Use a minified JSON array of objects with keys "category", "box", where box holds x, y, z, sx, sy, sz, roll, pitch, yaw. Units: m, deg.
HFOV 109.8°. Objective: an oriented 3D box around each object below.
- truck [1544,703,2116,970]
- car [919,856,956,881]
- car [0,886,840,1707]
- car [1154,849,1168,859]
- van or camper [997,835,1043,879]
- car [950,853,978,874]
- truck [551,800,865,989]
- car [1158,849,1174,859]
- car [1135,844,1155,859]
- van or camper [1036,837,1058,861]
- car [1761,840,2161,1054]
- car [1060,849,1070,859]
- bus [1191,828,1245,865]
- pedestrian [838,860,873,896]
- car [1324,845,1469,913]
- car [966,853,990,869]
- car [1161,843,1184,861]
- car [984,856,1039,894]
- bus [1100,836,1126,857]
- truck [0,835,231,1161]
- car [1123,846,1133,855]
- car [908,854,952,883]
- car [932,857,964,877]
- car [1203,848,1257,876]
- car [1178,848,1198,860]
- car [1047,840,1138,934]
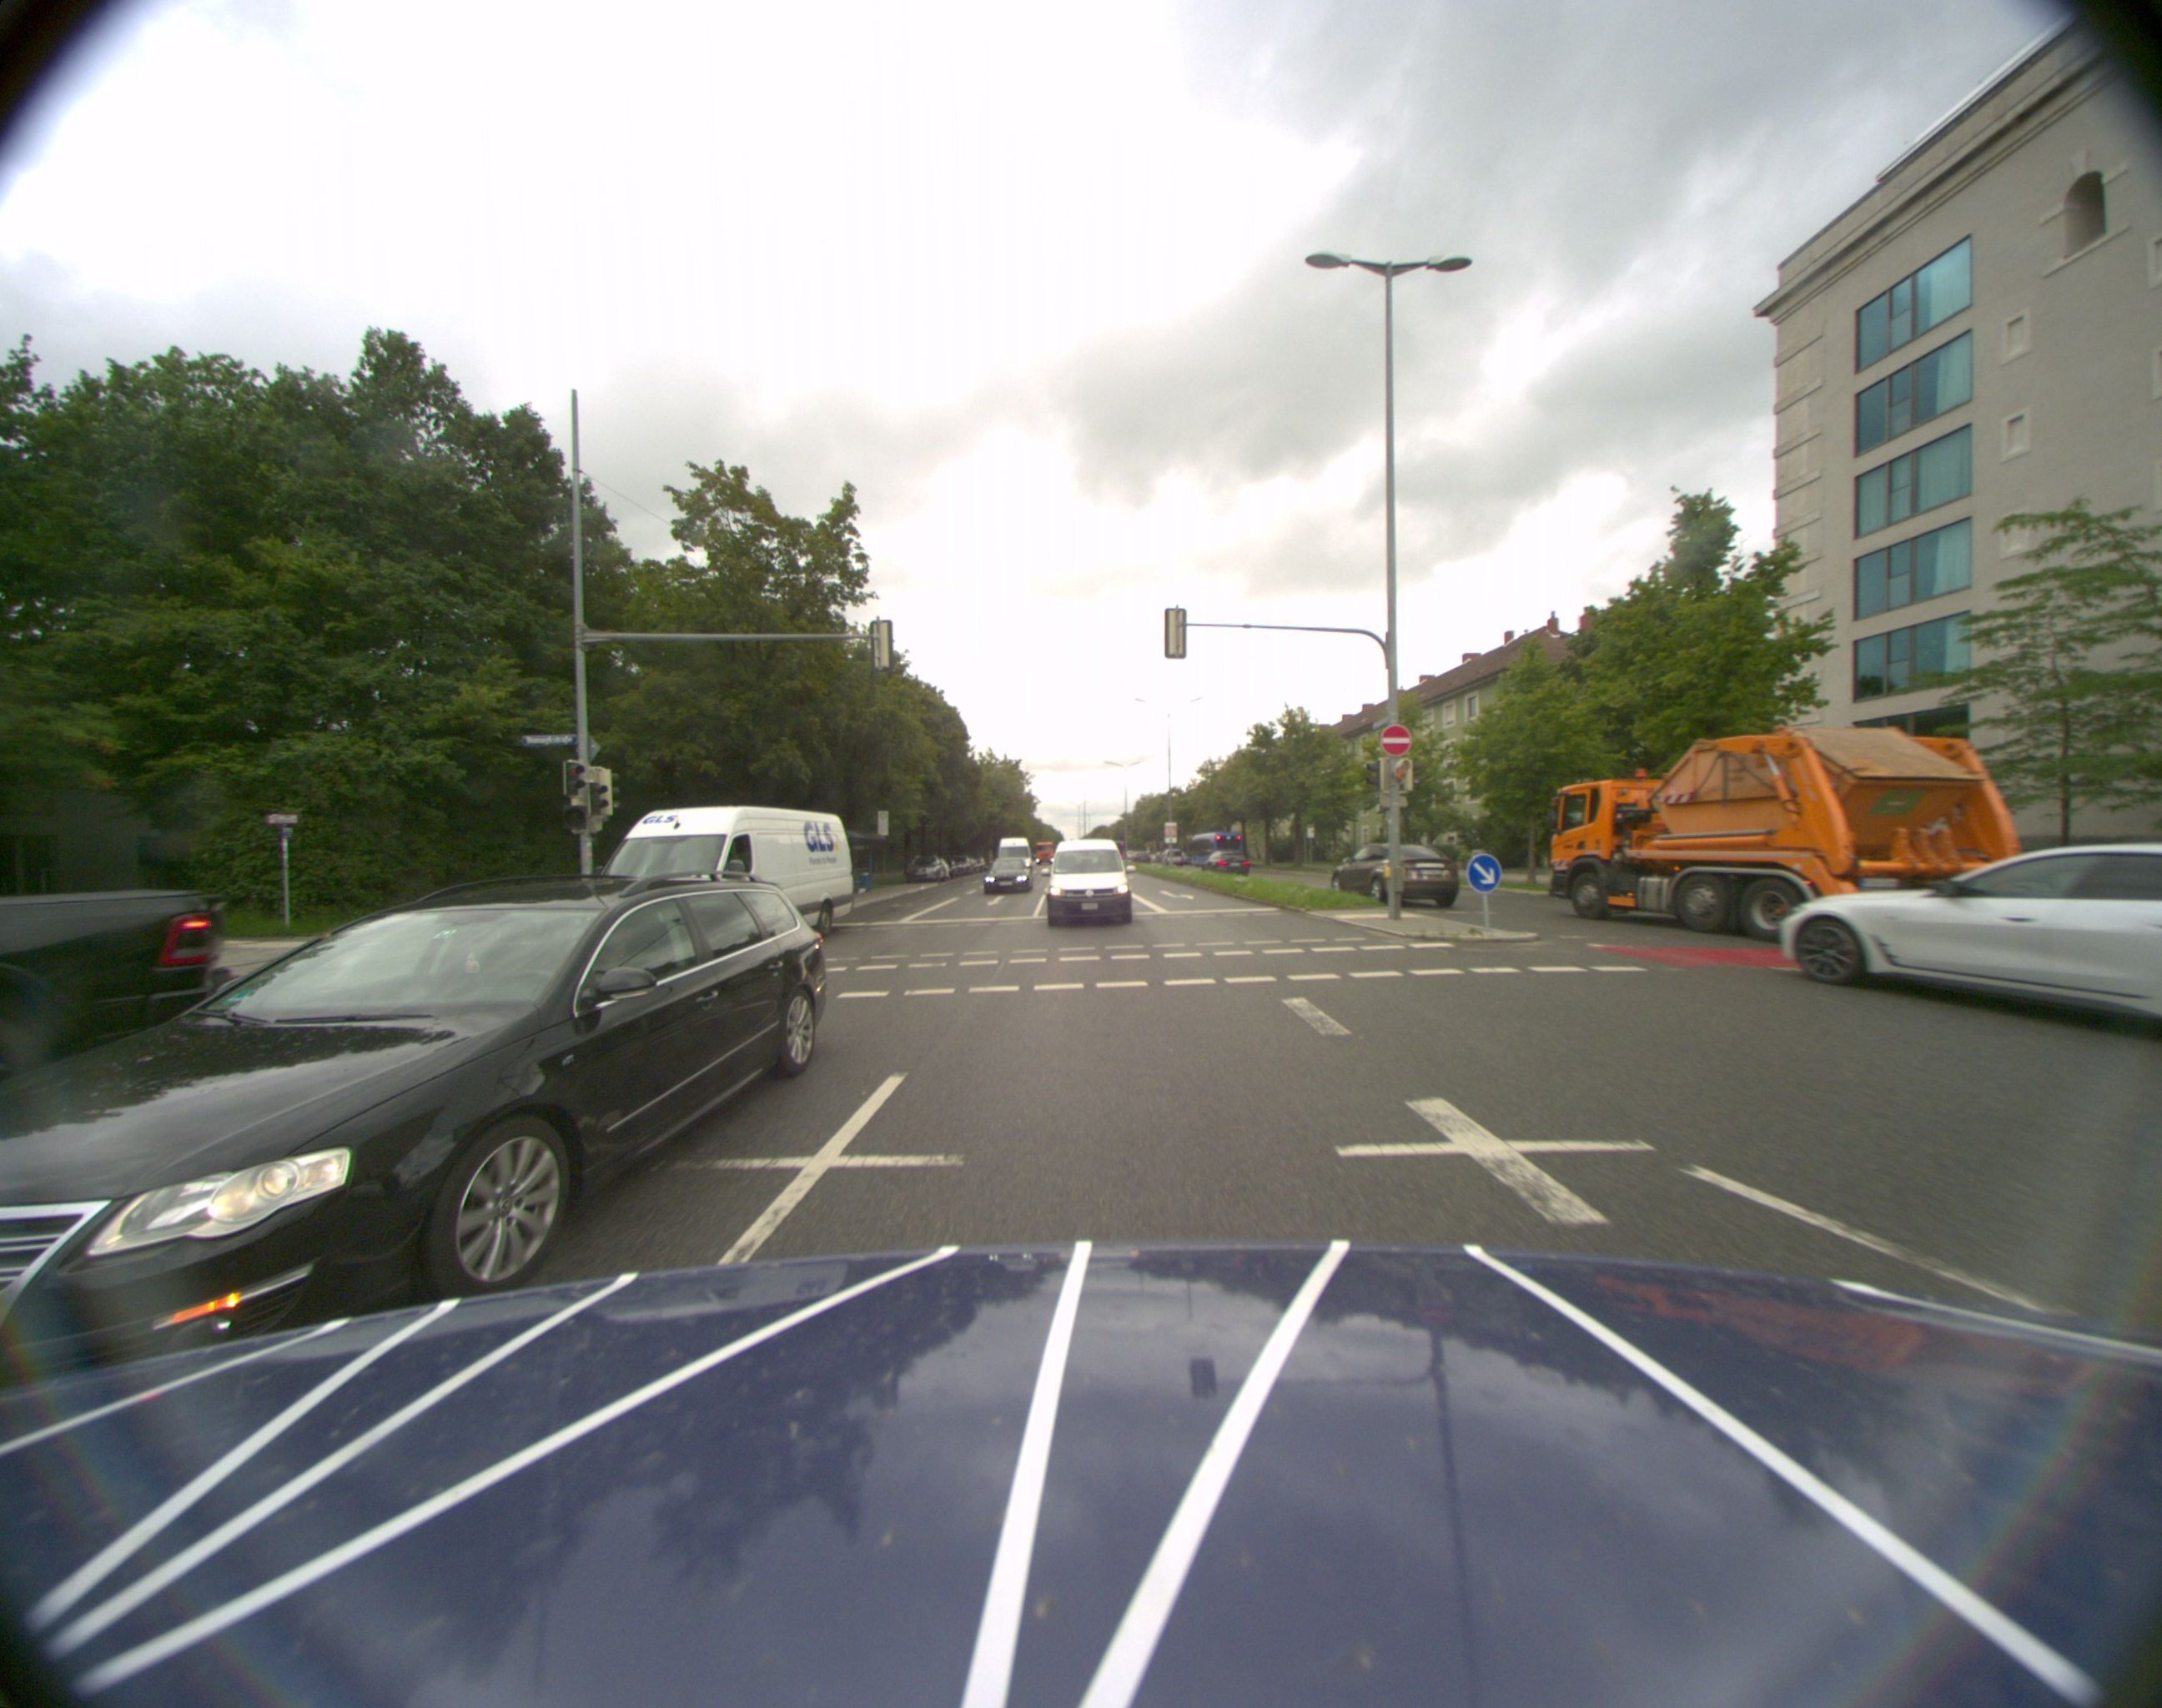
[{"category":"truck","box":[11.680,-0.250,13.237,2.787,3.337,7.265,-1,1,0]},{"category":"car","box":[-9.779,0.963,51.967,1.752,1.515,4.395,-1,1,-1]},{"category":"car","box":[-2.824,1.045,3.872,1.752,1.466,4.670,-2,1,-1]},{"category":"car","box":[12.693,-0.070,120.768,1.857,1.454,3.909,-2,0,0]},{"category":"van or camper","box":[-3.722,0.144,47.715,2.183,2.546,7.074,-1,1,0]},{"category":"car","box":[-9.744,0.788,63.620,1.752,1.640,4.254,-1,1,-1]},{"category":"truck","box":[-6.187,0.527,14.133,1.998,2.589,7.227,-1,1,2]},{"category":"car","box":[12.882,-0.039,115.095,1.857,1.454,3.909,-2,0,0]},{"category":"car","box":[7.044,-0.251,84.046,1.703,1.561,4.290,-1,1,-2]},{"category":"van or camper","box":[-4.870,-0.700,109.214,2.781,3.219,7.074,-1,1,0]},{"category":"car","box":[8.390,0.637,6.033,1.732,1.478,4.741,-1,1,0]},{"category":"car","box":[-3.390,-0.050,165.621,1.998,2.002,3.999,-1,1,0]},{"category":"bus","box":[13.214,-0.752,74.392,2.752,3.324,12.046,0,1,-1]},{"category":"pedestrian","box":[-9.290,0.997,31.332,1.157,1.375,0.611,-4,1,-2]},{"category":"car","box":[8.250,0.578,20.413,1.867,1.533,4.749,3,1,0]},{"category":"car","box":[-9.976,0.650,73.694,1.752,1.459,4.254,-1,1,-1]},{"category":"car","box":[9.664,-0.264,80.548,1.784,1.801,4.429,2,0,-2]},{"category":"car","box":[-2.858,0.841,32.221,1.819,1.421,4.671,-1,0,0]},{"category":"bus","box":[5.270,-1.314,128.216,2.754,3.324,12.266,0,1,-6]},{"category":"truck","box":[-8.766,0.929,3.876,2.100,2.002,5.824,0,1,42]},{"category":"car","box":[11.197,-0.775,180.463,1.999,2.002,3.999,-1,1,-1]},{"category":"car","box":[-9.223,0.835,46.698,1.884,1.640,4.395,-1,1,-1]},{"category":"car","box":[-9.996,0.952,57.501,1.752,1.420,4.254,-1,1,-1]},{"category":"car","box":[8.200,0.416,42.192,1.931,1.453,4.897,1,1,-1]},{"category":"car","box":[13.213,0.007,93.909,1.857,1.454,3.909,-2,0,0]},{"category":"car","box":[0.175,0.625,17.259,1.752,1.809,4.670,-1,1,-1]}]
